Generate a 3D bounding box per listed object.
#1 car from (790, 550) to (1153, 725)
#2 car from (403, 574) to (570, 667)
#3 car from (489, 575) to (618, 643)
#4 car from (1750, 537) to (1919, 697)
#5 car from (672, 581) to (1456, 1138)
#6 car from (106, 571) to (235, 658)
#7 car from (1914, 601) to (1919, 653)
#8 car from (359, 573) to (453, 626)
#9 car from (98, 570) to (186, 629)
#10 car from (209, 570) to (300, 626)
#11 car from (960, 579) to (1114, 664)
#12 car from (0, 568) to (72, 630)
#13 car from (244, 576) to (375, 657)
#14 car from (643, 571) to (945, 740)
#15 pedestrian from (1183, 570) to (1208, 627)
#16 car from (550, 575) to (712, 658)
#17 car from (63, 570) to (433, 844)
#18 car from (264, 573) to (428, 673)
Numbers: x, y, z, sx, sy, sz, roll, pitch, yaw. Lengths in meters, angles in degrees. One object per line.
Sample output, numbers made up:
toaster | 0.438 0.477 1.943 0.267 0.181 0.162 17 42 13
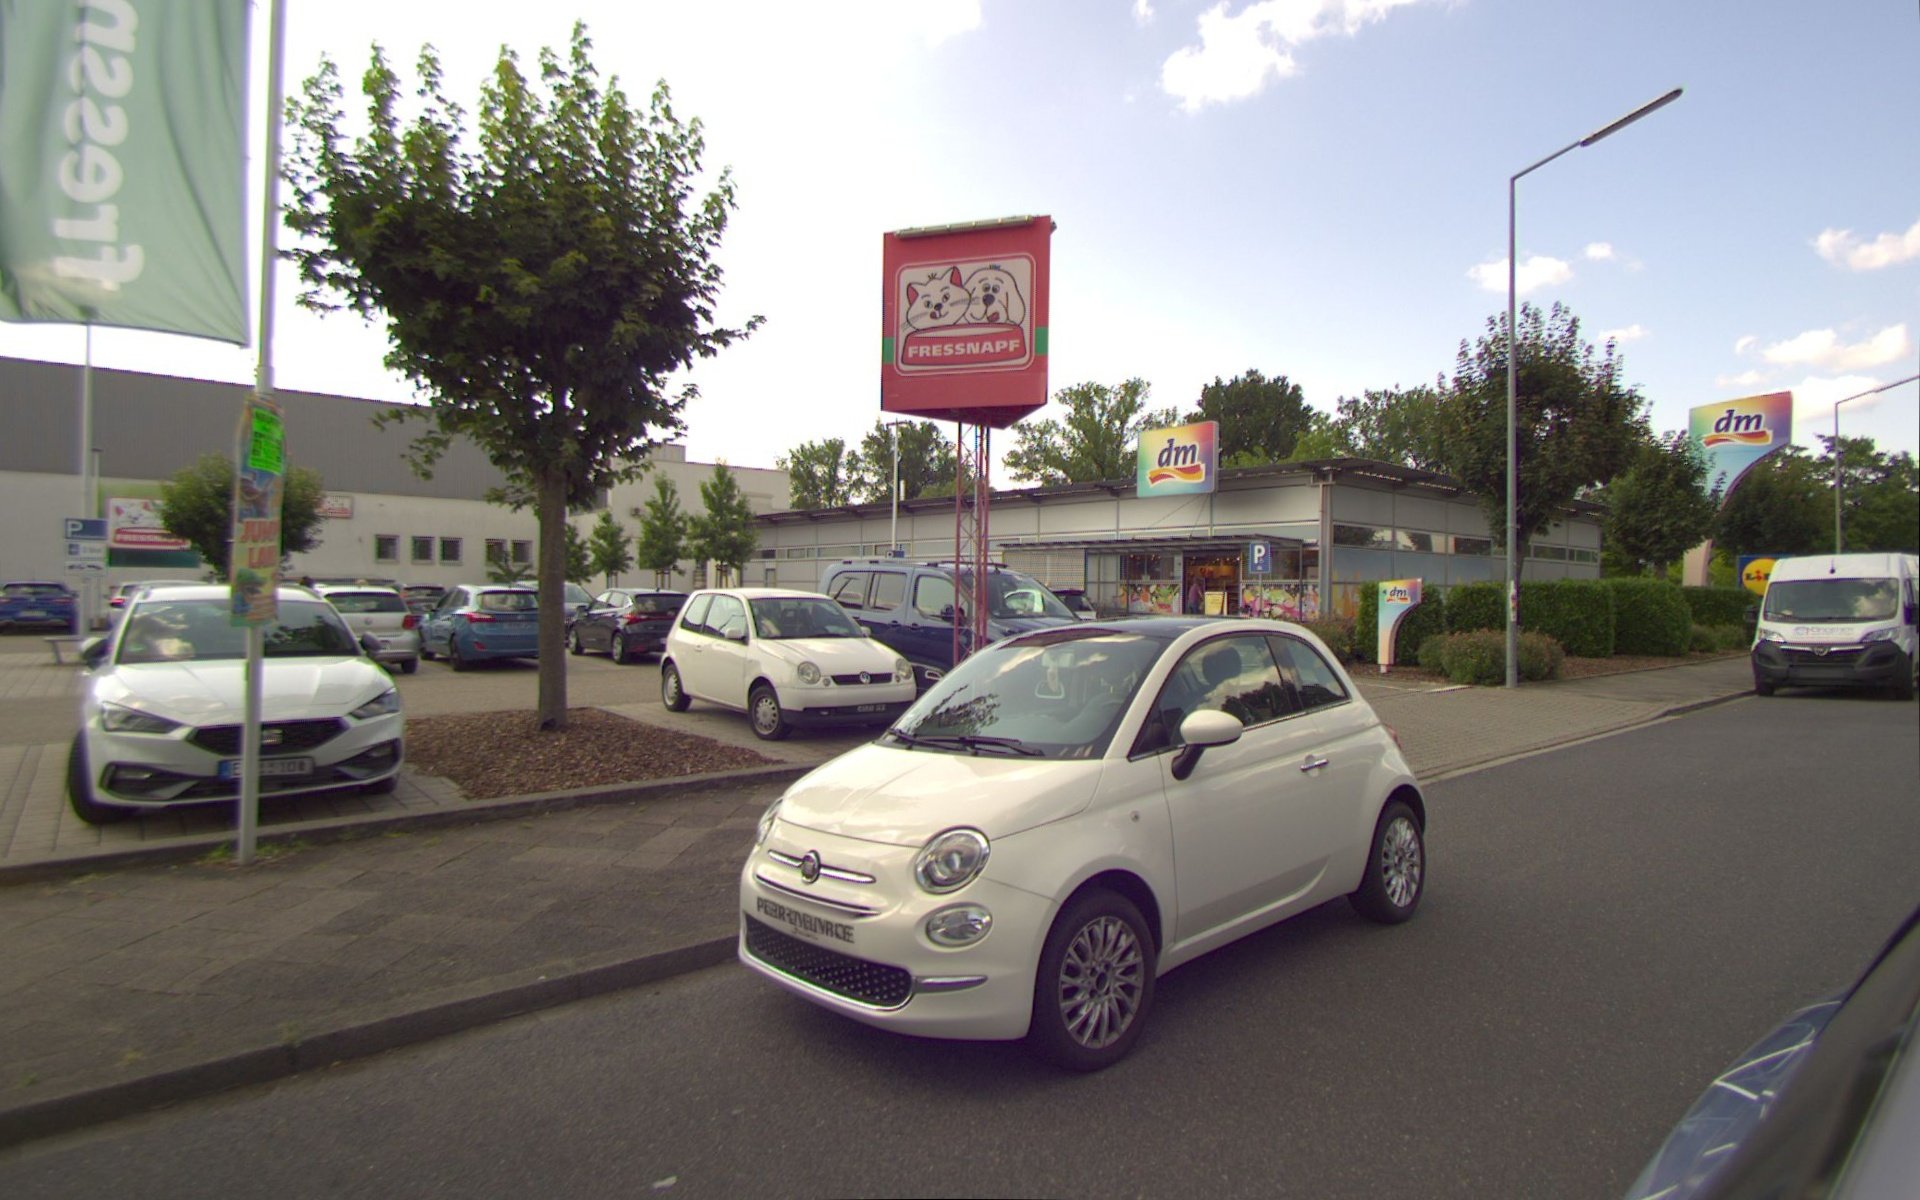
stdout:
car | -0.082 0.314 12.941 1.869 1.810 4.902 0 2 -41
car | -8.839 0.301 18.729 1.695 1.502 3.941 0 2 -43
car | -10.084 0.163 24.961 1.695 1.502 3.941 0 2 -43
car | 15.967 0.283 17.960 5.360 2.440 2.054 0 -2 -41
car | 0.707 0.733 4.587 3.564 1.531 1.546 0 -2 -43
car | -15.577 0.216 19.905 1.695 1.502 3.941 0 2 -43
car | 29.044 0.742 29.316 3.488 1.475 1.696 0 -2 -41
car | -17.590 -0.056 32.028 1.695 1.502 4.037 0 2 -43
car | -23.162 -0.064 28.614 1.695 1.502 4.019 0 2 -43
car | -21.094 -0.099 30.190 1.695 1.502 4.136 0 2 -43
car | 1.506 0.378 20.210 1.618 1.563 2.714 0 1 -42
car | -24.806 -0.074 26.933 1.695 1.502 4.011 0 2 -43
car | -13.866 0.281 21.491 1.695 1.502 3.941 0 2 -43
car | -1.983 0.463 11.220 1.624 1.518 3.820 0 1 -39
pedestrian | 7.197 -0.036 30.963 0.536 1.722 0.528 0 0 -40
car | -6.824 0.264 20.780 1.695 1.502 3.941 0 2 -43
car | -5.646 0.529 7.789 1.826 1.455 4.489 0 2 -41
car | -10.703 0.310 17.525 1.695 1.502 3.941 0 2 -43
